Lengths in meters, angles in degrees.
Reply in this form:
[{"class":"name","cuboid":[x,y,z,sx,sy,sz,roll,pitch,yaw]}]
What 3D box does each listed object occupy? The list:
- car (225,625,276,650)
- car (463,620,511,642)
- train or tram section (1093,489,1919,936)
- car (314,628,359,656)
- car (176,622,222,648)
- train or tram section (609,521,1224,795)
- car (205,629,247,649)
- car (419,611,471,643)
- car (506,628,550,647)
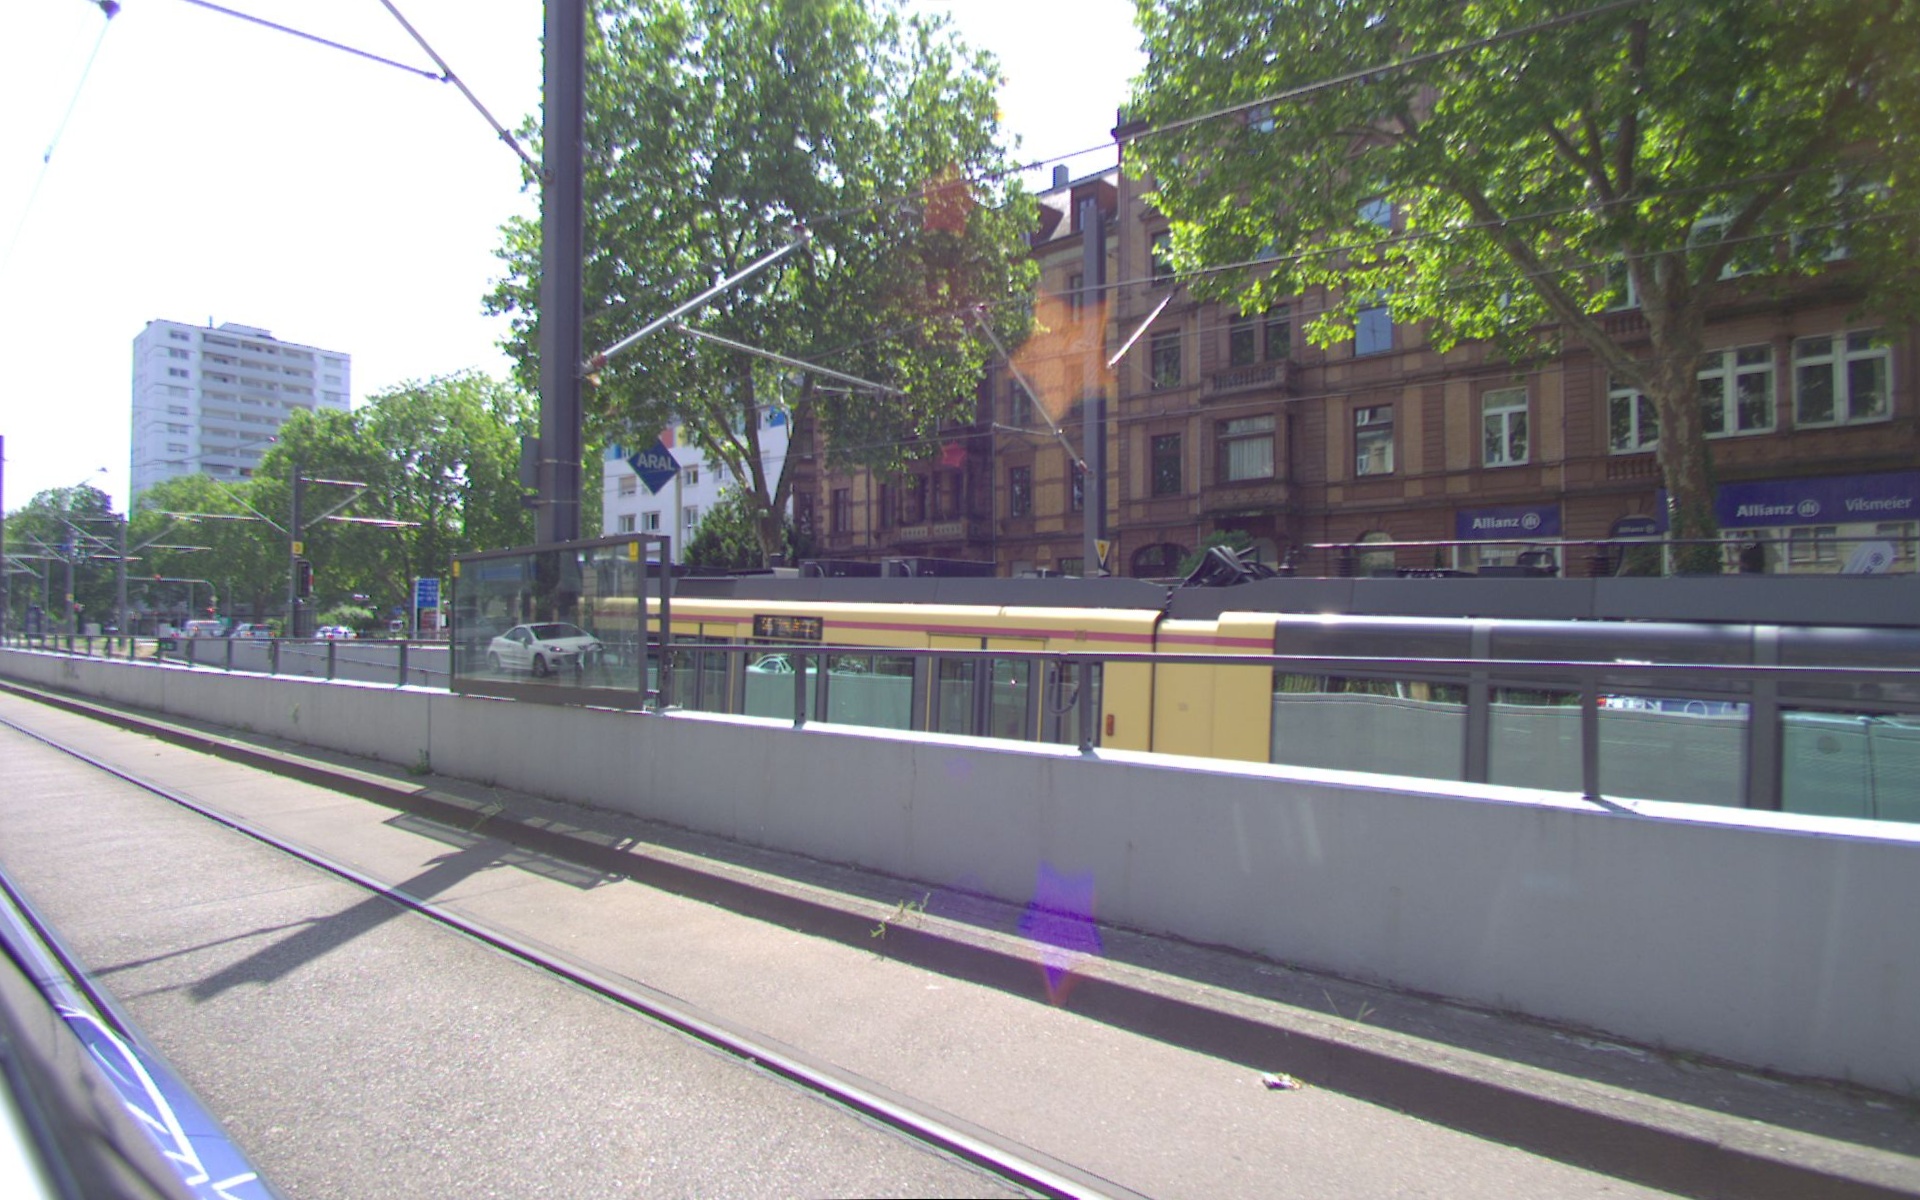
[{"class":"car","cuboid":[-48.989,2.594,69.830,4.600,1.638,1.827,-1,-3,42]},{"class":"car","cuboid":[-37.945,2.445,81.131,3.997,1.733,1.973,-1,-2,41]},{"class":"train or tram section","cuboid":[5.137,0.673,7.768,7.998,2.528,2.701,-2,-1,41]},{"class":"car","cuboid":[-36.195,2.406,58.705,1.525,1.573,3.883,0,-1,-42]},{"class":"car","cuboid":[-59.578,2.744,79.184,4.800,2.006,1.759,-2,-2,40]},{"class":"train or tram section","cuboid":[-1.117,0.629,13.196,8.512,2.528,2.701,-2,-1,41]},{"class":"car","cuboid":[-53.820,2.850,74.185,3.779,1.431,1.580,-2,-4,40]},{"class":"car","cuboid":[-39.684,2.105,77.939,4.977,2.411,1.828,-2,-2,40]},{"class":"car","cuboid":[-35.994,3.124,84.246,3.997,1.538,1.844,-2,-2,41]}]
